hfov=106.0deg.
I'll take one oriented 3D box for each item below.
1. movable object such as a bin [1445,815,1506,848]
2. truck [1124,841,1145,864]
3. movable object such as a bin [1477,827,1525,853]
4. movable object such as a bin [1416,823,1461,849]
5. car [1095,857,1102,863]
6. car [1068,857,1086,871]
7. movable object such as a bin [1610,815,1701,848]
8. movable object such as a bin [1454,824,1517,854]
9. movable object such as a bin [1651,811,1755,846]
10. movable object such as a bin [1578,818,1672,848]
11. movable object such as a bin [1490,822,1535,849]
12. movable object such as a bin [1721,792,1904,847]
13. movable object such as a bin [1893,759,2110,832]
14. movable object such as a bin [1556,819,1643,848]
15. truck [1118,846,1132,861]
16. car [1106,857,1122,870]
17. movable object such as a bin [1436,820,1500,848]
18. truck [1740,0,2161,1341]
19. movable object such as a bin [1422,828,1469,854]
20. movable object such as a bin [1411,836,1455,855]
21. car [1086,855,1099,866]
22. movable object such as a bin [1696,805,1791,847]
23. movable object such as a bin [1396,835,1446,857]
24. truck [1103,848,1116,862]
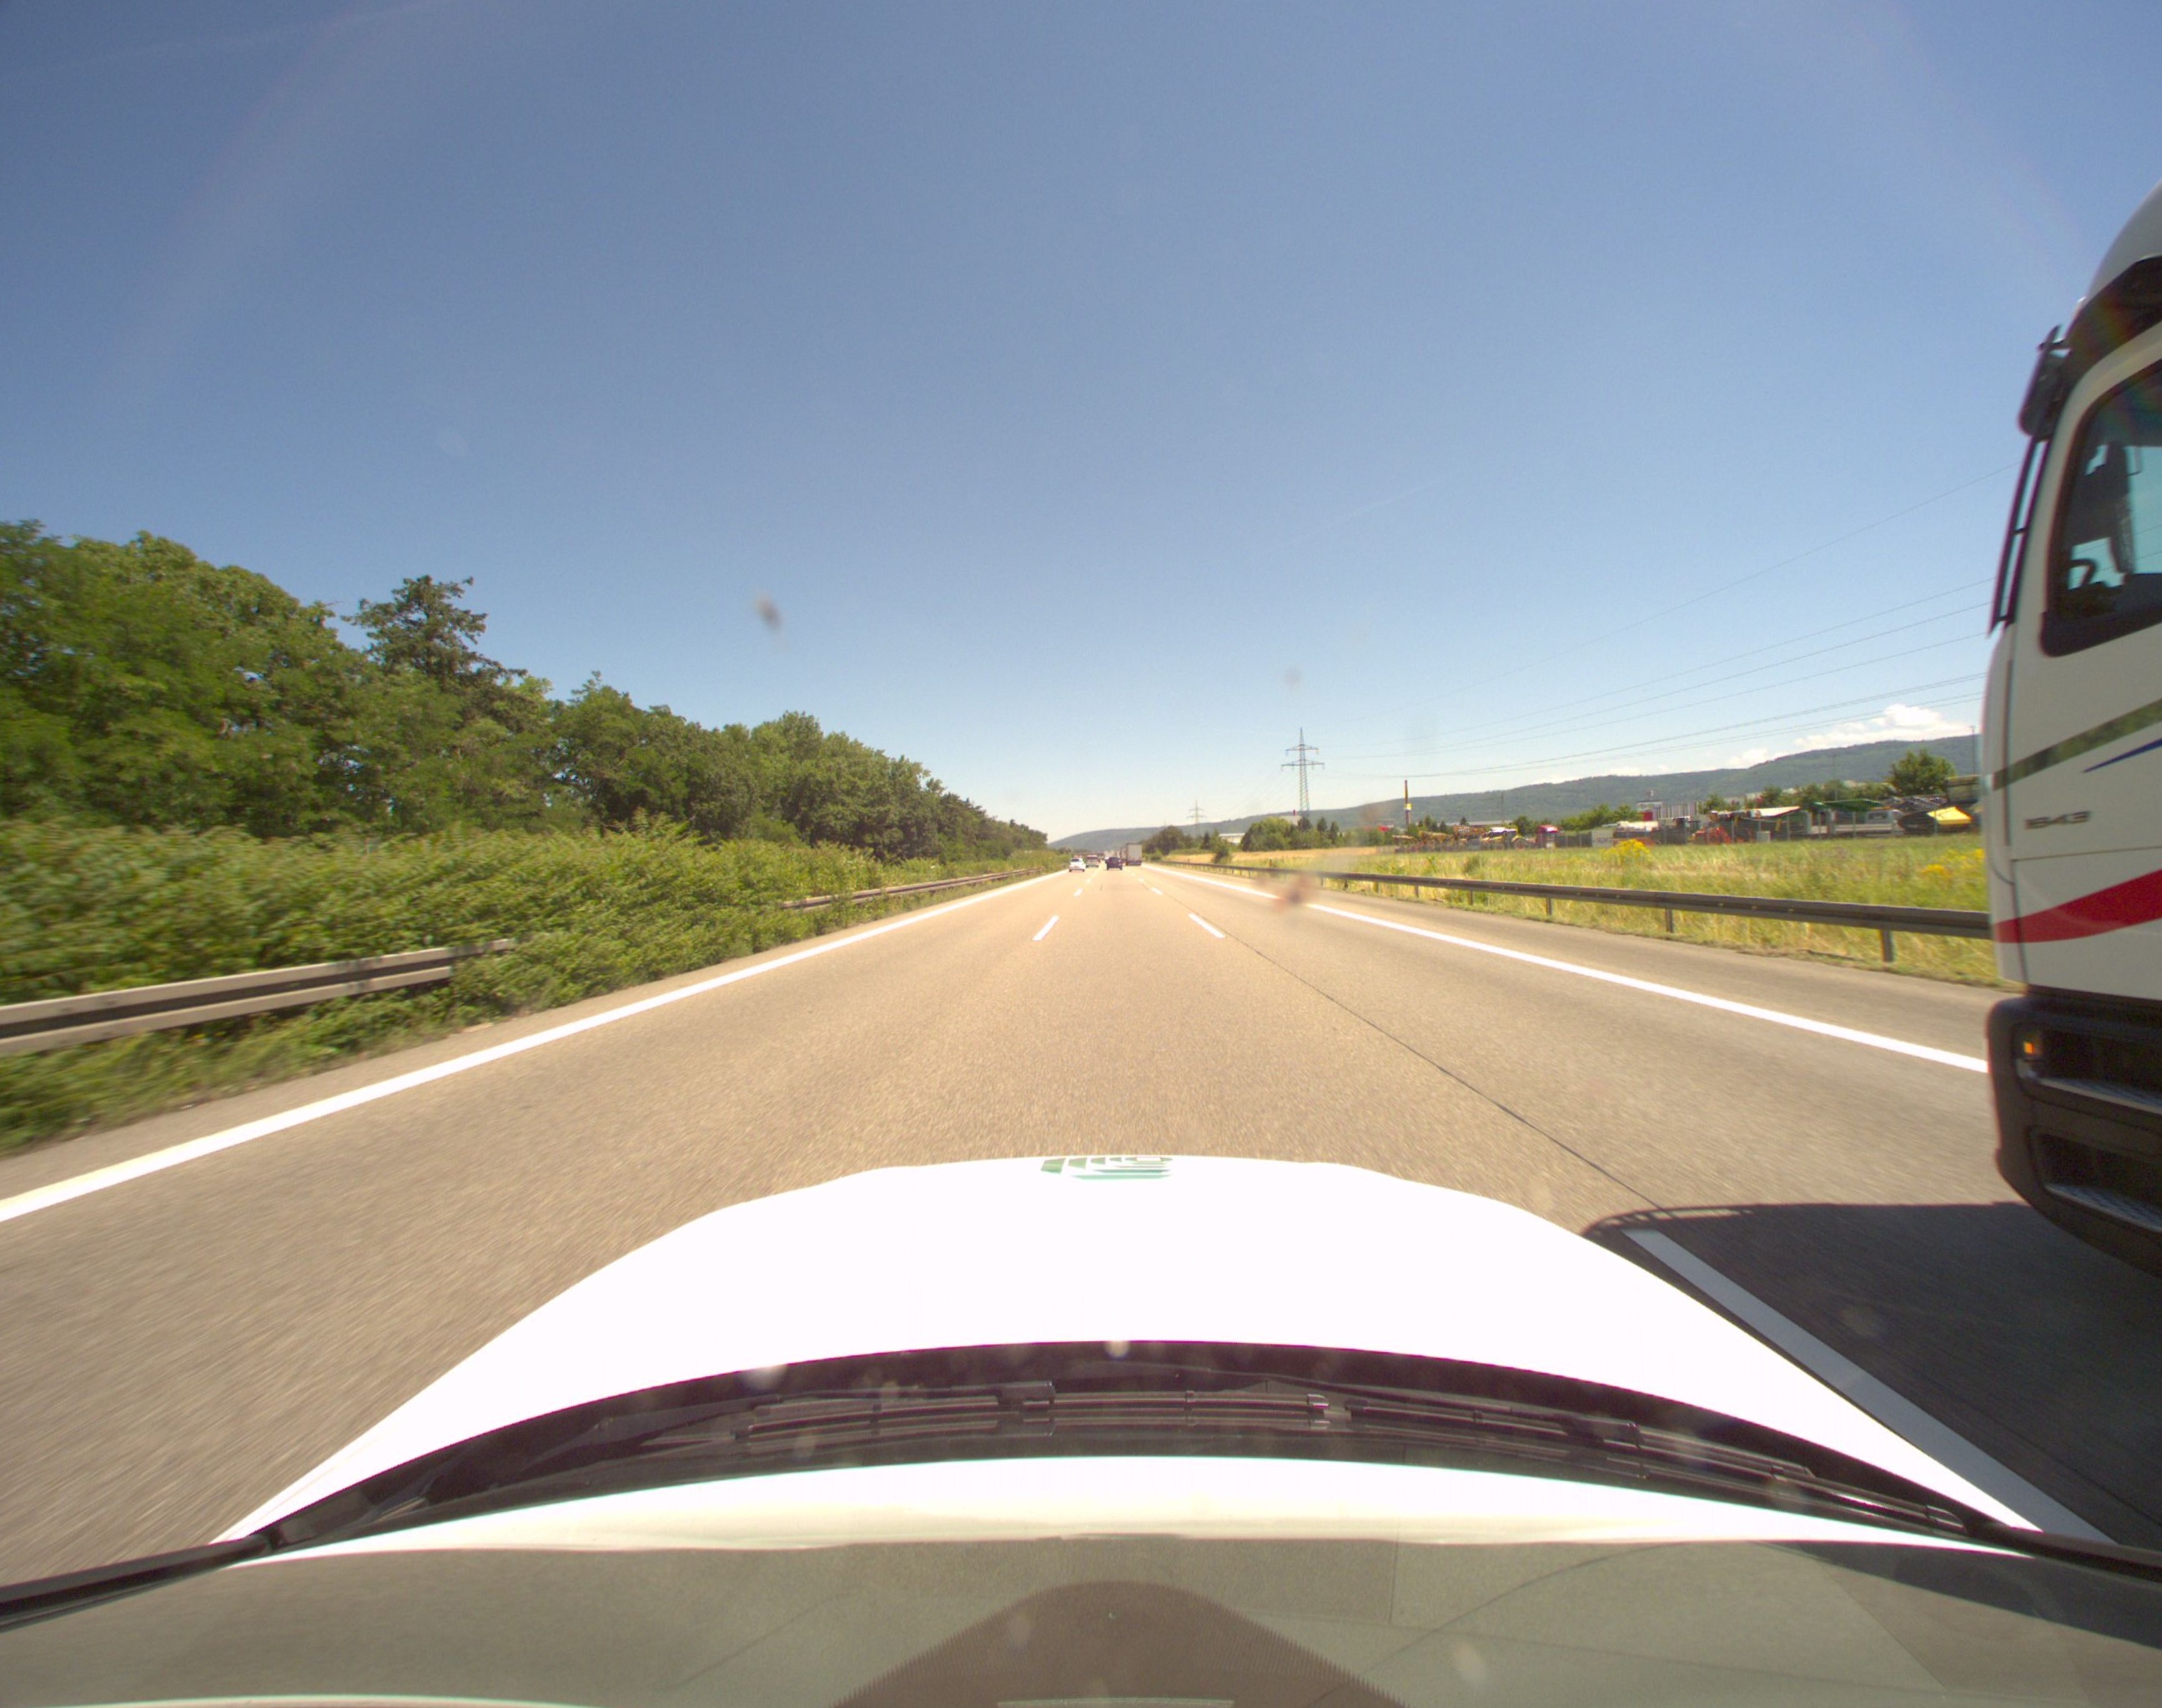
[{"bbox_3d":[59.303,-3.334,122.571,7.474,4.527,3.110,-4,-1,9],"label":"movable object such as a bin"},{"bbox_3d":[9.528,-0.253,145.703,3.253,3.857,11.635,0,0,1],"label":"truck"},{"bbox_3d":[59.094,-1.954,114.692,5.226,3.293,2.795,-4,-1,9],"label":"movable object such as a bin"},{"bbox_3d":[58.816,-2.921,134.142,6.312,3.732,2.278,-4,-1,7],"label":"movable object such as a bin"},{"bbox_3d":[5.069,1.733,231.752,1.845,1.633,4.002,0,0,2],"label":"car"},{"bbox_3d":[-0.429,1.062,89.700,1.799,1.468,4.002,0,0,2],"label":"car"},{"bbox_3d":[57.446,-2.223,81.664,6.818,2.688,3.196,-4,-1,24],"label":"movable object such as a bin"},{"bbox_3d":[58.893,-2.174,118.784,7.474,3.783,3.110,-4,-1,9],"label":"movable object such as a bin"},{"bbox_3d":[57.491,-2.347,75.463,6.827,2.688,3.191,-4,-1,16],"label":"movable object such as a bin"},{"bbox_3d":[57.614,-2.200,86.509,7.758,2.688,3.196,-4,-1,25],"label":"movable object such as a bin"},{"bbox_3d":[57.995,-2.479,109.520,4.786,3.196,2.303,-4,-1,9],"label":"movable object such as a bin"},{"bbox_3d":[56.540,-2.592,63.356,10.157,3.415,2.537,-4,-1,27],"label":"movable object such as a bin"},{"bbox_3d":[57.186,-3.583,50.771,10.216,3.689,2.665,-4,-1,1],"label":"movable object such as a bin"},{"bbox_3d":[57.968,-2.274,91.368,7.758,2.688,3.196,-4,-1,25],"label":"movable object such as a bin"},{"bbox_3d":[11.051,-0.137,205.755,3.086,3.474,11.546,0,0,1],"label":"truck"},{"bbox_3d":[4.028,1.086,98.977,1.877,1.515,4.002,0,0,2],"label":"car"},{"bbox_3d":[59.988,-3.018,126.355,8.138,3.732,3.345,-4,-1,9],"label":"movable object such as a bin"},{"bbox_3d":[4.324,-0.645,0.640,2.563,4.072,6.394,0,0,1],"label":"truck"},{"bbox_3d":[58.385,-2.062,130.613,6.312,3.732,2.500,-4,-1,7],"label":"movable object such as a bin"},{"bbox_3d":[59.427,-1.456,137.505,6.312,2.880,2.278,-4,-1,7],"label":"movable object such as a bin"},{"bbox_3d":[1.791,1.004,125.933,1.845,1.633,4.002,0,0,2],"label":"car"},{"bbox_3d":[57.672,-2.401,71.032,5.784,3.196,2.533,-4,-1,16],"label":"movable object such as a bin"},{"bbox_3d":[58.891,-1.371,141.269,7.505,3.402,2.278,-4,-1,7],"label":"movable object such as a bin"},{"bbox_3d":[7.409,0.287,212.128,3.086,3.474,11.546,0,0,1],"label":"truck"}]
